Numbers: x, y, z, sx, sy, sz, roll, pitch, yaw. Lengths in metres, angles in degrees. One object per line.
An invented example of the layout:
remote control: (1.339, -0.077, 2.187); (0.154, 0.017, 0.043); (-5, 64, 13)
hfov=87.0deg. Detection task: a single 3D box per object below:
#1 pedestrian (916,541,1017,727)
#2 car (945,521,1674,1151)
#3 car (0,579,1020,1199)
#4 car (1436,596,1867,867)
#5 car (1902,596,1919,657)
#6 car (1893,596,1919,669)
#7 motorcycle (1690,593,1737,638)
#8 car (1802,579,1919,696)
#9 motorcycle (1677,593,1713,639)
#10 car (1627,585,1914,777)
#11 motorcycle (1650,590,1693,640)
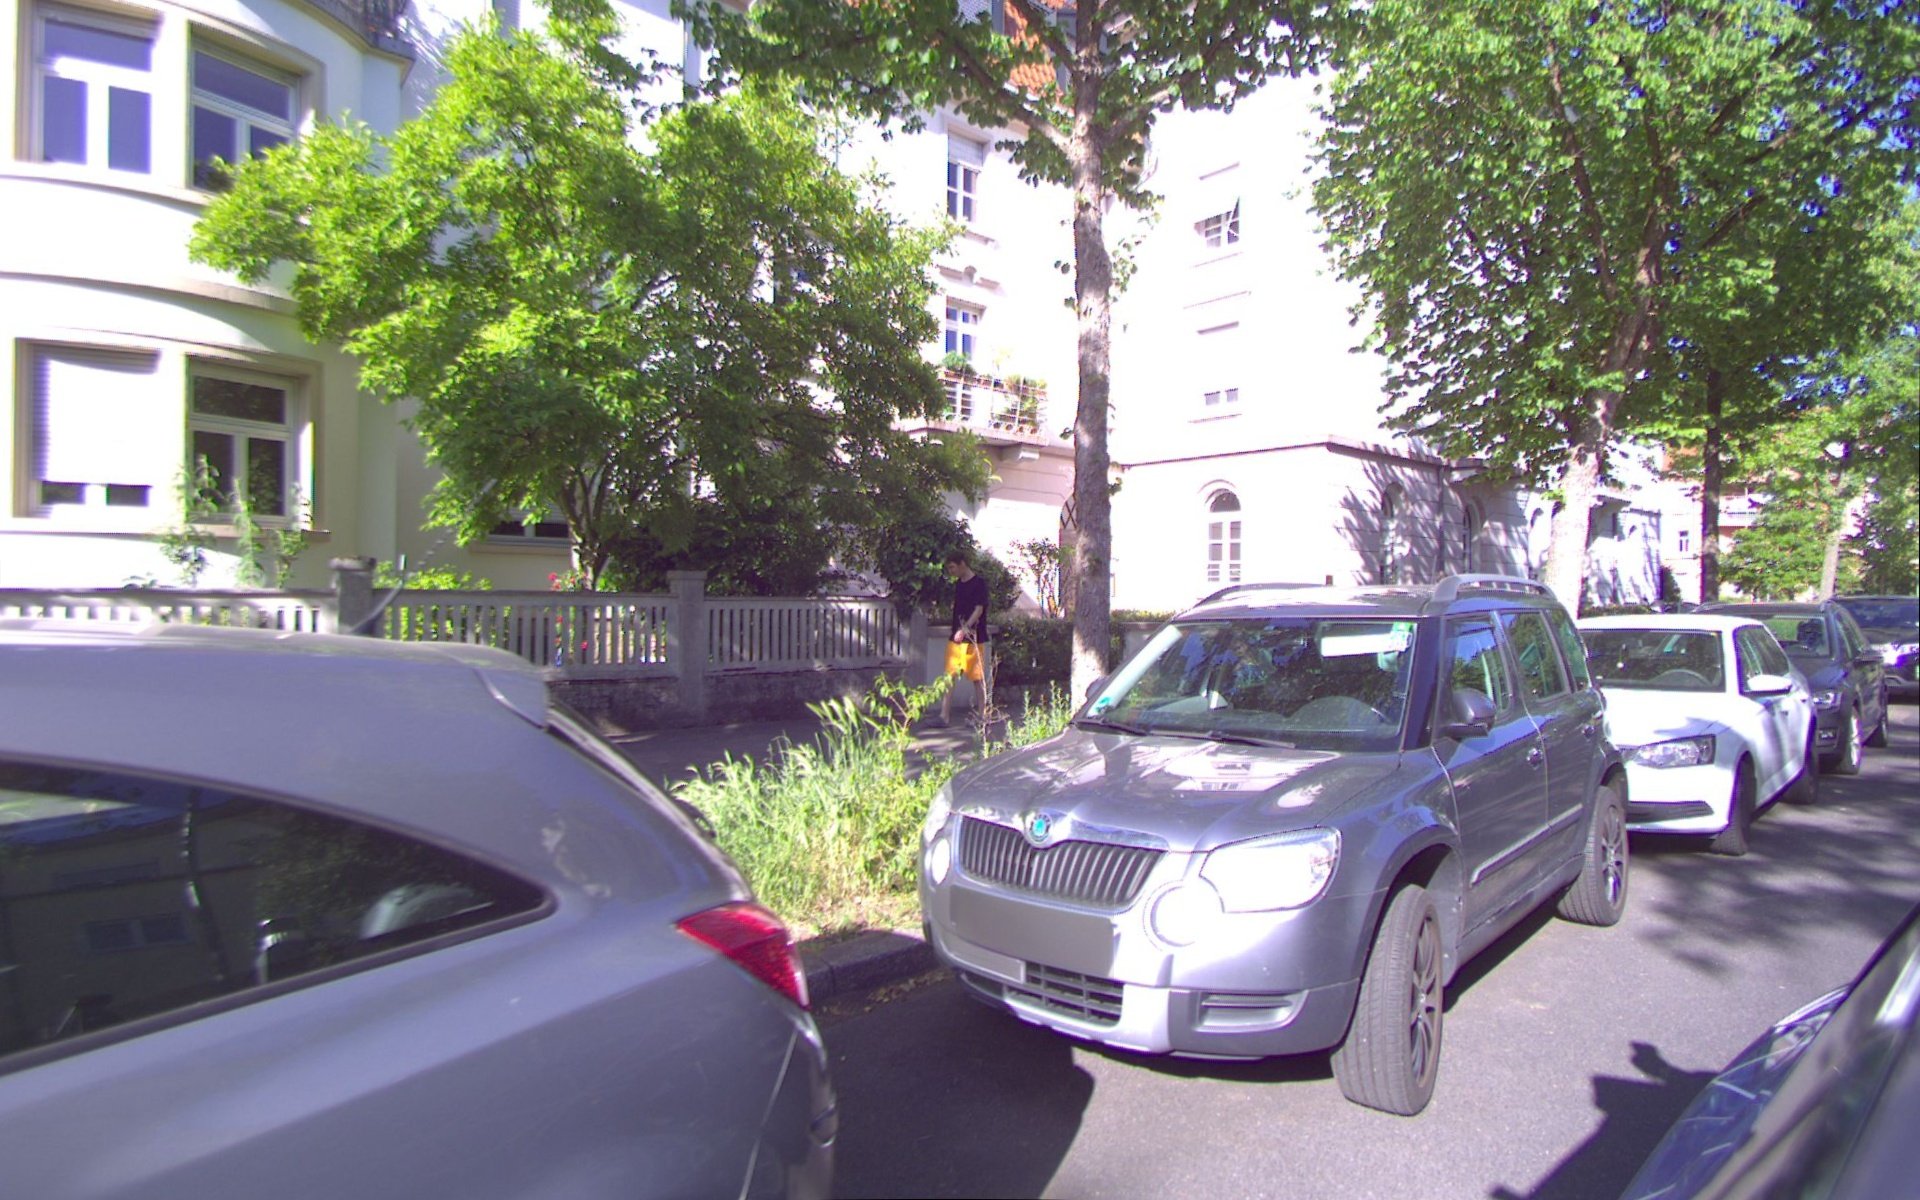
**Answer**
pedestrian: (0.065, 0.317, 10.237); (0.785, 1.797, 0.623); (0, 1, -41)
car: (1.862, 0.617, 4.622); (3.784, 1.676, 1.650); (0, 0, -44)
car: (-1.756, 0.702, 1.109); (3.552, 1.446, 1.651); (0, 1, -43)
car: (5.341, 0.714, 7.571); (4.292, 1.443, 1.633); (0, 1, -41)
car: (24.194, 0.620, 24.522); (4.064, 1.420, 1.655); (0, 1, -42)
car: (20.764, 0.650, 21.219); (1.612, 1.427, 4.281); (1, 1, 45)
motorcycle: (23.381, 0.449, 31.375); (0.970, 1.345, 1.824); (0, 0, 43)
car: (15.448, 0.543, 16.703); (4.223, 1.719, 1.783); (0, 1, -42)
motorcycle: (21.950, 0.465, 30.220); (0.656, 1.295, 1.773); (3, 2, 42)
car: (8.652, 0.699, 10.647); (4.458, 1.608, 1.685); (0, -2, -43)
motorcycle: (20.189, 0.419, 28.710); (2.053, 1.378, 0.540); (0, 0, -42)
